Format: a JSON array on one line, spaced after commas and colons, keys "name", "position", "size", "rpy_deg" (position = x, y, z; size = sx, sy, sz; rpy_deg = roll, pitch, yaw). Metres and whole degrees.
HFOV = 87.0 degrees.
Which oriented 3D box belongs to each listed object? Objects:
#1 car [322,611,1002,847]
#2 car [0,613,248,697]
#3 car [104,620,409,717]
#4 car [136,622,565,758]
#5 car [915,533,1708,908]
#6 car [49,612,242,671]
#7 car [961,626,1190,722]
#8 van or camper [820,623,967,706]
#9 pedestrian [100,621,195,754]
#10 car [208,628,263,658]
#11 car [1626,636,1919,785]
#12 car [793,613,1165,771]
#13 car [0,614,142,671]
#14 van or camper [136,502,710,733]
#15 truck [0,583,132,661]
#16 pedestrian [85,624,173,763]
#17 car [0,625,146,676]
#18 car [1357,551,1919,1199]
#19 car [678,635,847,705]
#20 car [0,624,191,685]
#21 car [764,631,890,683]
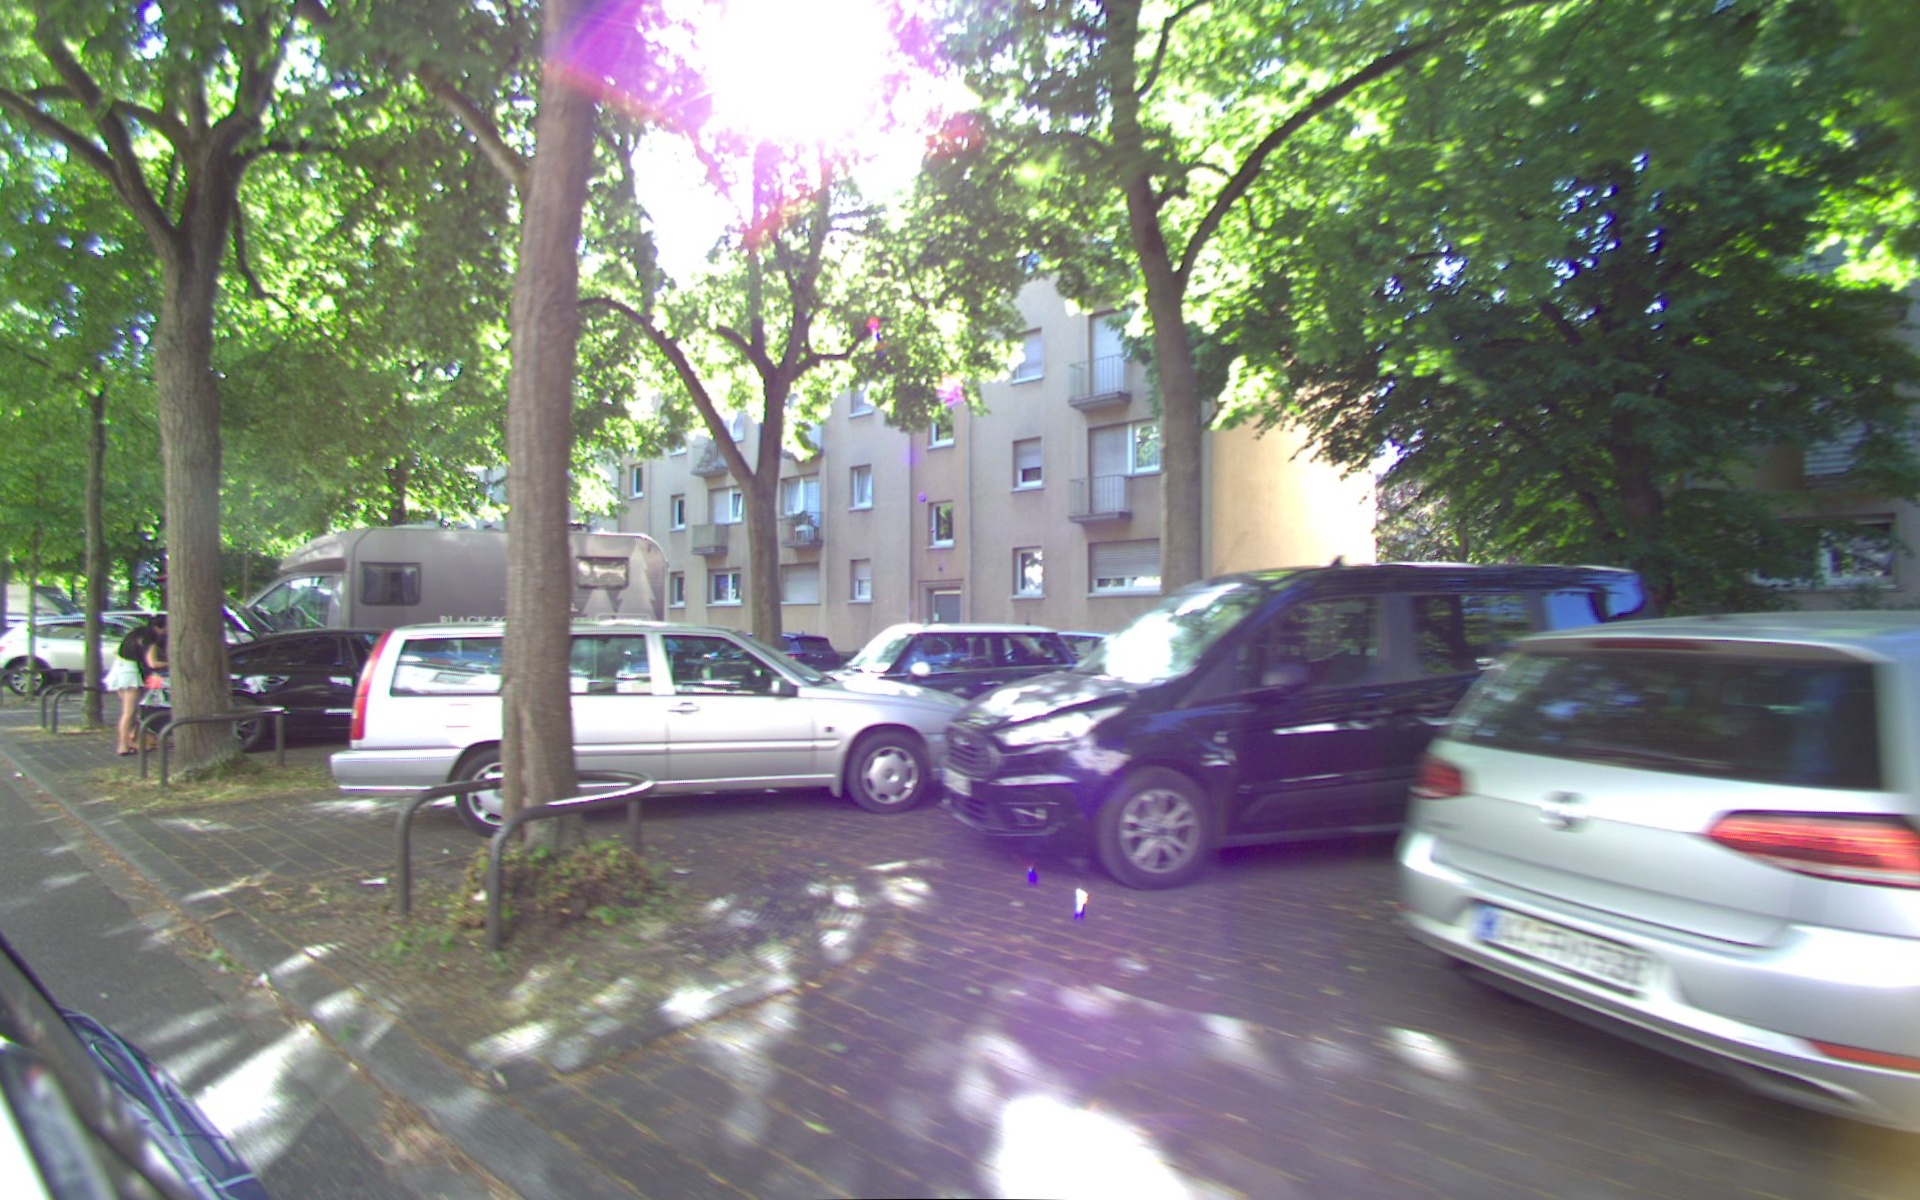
[{"name": "car", "position": [-2.060, 0.829, 7.701], "size": [4.413, 1.454, 1.737], "rpy_deg": [0, -2, -15]}, {"name": "car", "position": [-18.084, 1.145, 21.875], "size": [4.075, 1.692, 1.765], "rpy_deg": [0, -2, -19]}, {"name": "car", "position": [-11.817, 1.120, 17.319], "size": [3.931, 1.519, 1.763], "rpy_deg": [1, -2, -19]}, {"name": "car", "position": [-7.116, 0.999, 12.370], "size": [4.254, 1.435, 1.680], "rpy_deg": [0, -2, -21]}, {"name": "car", "position": [2.130, 0.600, 6.359], "size": [4.482, 1.777, 1.816], "rpy_deg": [0, -2, -18]}, {"name": "car", "position": [-26.886, 1.365, 33.610], "size": [4.526, 1.846, 2.025], "rpy_deg": [1, -2, -19]}, {"name": "car", "position": [1.964, 1.235, 17.886], "size": [3.769, 1.511, 1.646], "rpy_deg": [-2, -2, 42]}, {"name": "van or camper", "position": [-1.380, 1.269, 20.639], "size": [2.696, 1.567, 1.579], "rpy_deg": [-2, -3, 42]}, {"name": "pedestrian", "position": [-9.306, 0.977, 11.611], "size": [0.699, 1.467, 0.598], "rpy_deg": [1, -2, -25]}, {"name": "car", "position": [-40.702, 2.397, 56.794], "size": [3.949, 1.581, 1.735], "rpy_deg": [-2, -2, 43]}, {"name": "car", "position": [9.732, 1.111, 10.688], "size": [4.295, 1.435, 1.646], "rpy_deg": [-2, -2, 42]}, {"name": "car", "position": [0.153, 0.870, 10.603], "size": [3.512, 1.435, 1.680], "rpy_deg": [0, -2, -19]}, {"name": "car", "position": [-31.548, 1.459, 35.176], "size": [4.445, 1.879, 2.088], "rpy_deg": [0, -1, -23]}, {"name": "van or camper", "position": [-7.575, 0.300, 15.279], "size": [7.123, 2.952, 2.321], "rpy_deg": [1, -2, -21]}, {"name": "truck", "position": [-41.122, 0.977, 44.189], "size": [7.200, 3.319, 2.554], "rpy_deg": [1, -2, -17]}, {"name": "pedestrian", "position": [-9.039, 0.994, 11.029], "size": [0.606, 1.467, 0.521], "rpy_deg": [1, -2, -25]}, {"name": "car", "position": [-27.201, 1.477, 30.026], "size": [4.413, 1.466, 1.793], "rpy_deg": [0, -2, -16]}, {"name": "car", "position": [3.544, 0.652, 3.323], "size": [3.888, 1.454, 1.852], "rpy_deg": [0, -2, -20]}, {"name": "car", "position": [-4.776, 1.601, 24.163], "size": [4.308, 1.519, 1.745], "rpy_deg": [-2, -3, 42]}, {"name": "car", "position": [-22.849, 1.368, 26.200], "size": [4.348, 1.473, 1.721], "rpy_deg": [0, -1, -16]}, {"name": "car", "position": [-3.809, 1.582, 28.715], "size": [3.611, 1.397, 1.607], "rpy_deg": [-2, -3, 42]}]
